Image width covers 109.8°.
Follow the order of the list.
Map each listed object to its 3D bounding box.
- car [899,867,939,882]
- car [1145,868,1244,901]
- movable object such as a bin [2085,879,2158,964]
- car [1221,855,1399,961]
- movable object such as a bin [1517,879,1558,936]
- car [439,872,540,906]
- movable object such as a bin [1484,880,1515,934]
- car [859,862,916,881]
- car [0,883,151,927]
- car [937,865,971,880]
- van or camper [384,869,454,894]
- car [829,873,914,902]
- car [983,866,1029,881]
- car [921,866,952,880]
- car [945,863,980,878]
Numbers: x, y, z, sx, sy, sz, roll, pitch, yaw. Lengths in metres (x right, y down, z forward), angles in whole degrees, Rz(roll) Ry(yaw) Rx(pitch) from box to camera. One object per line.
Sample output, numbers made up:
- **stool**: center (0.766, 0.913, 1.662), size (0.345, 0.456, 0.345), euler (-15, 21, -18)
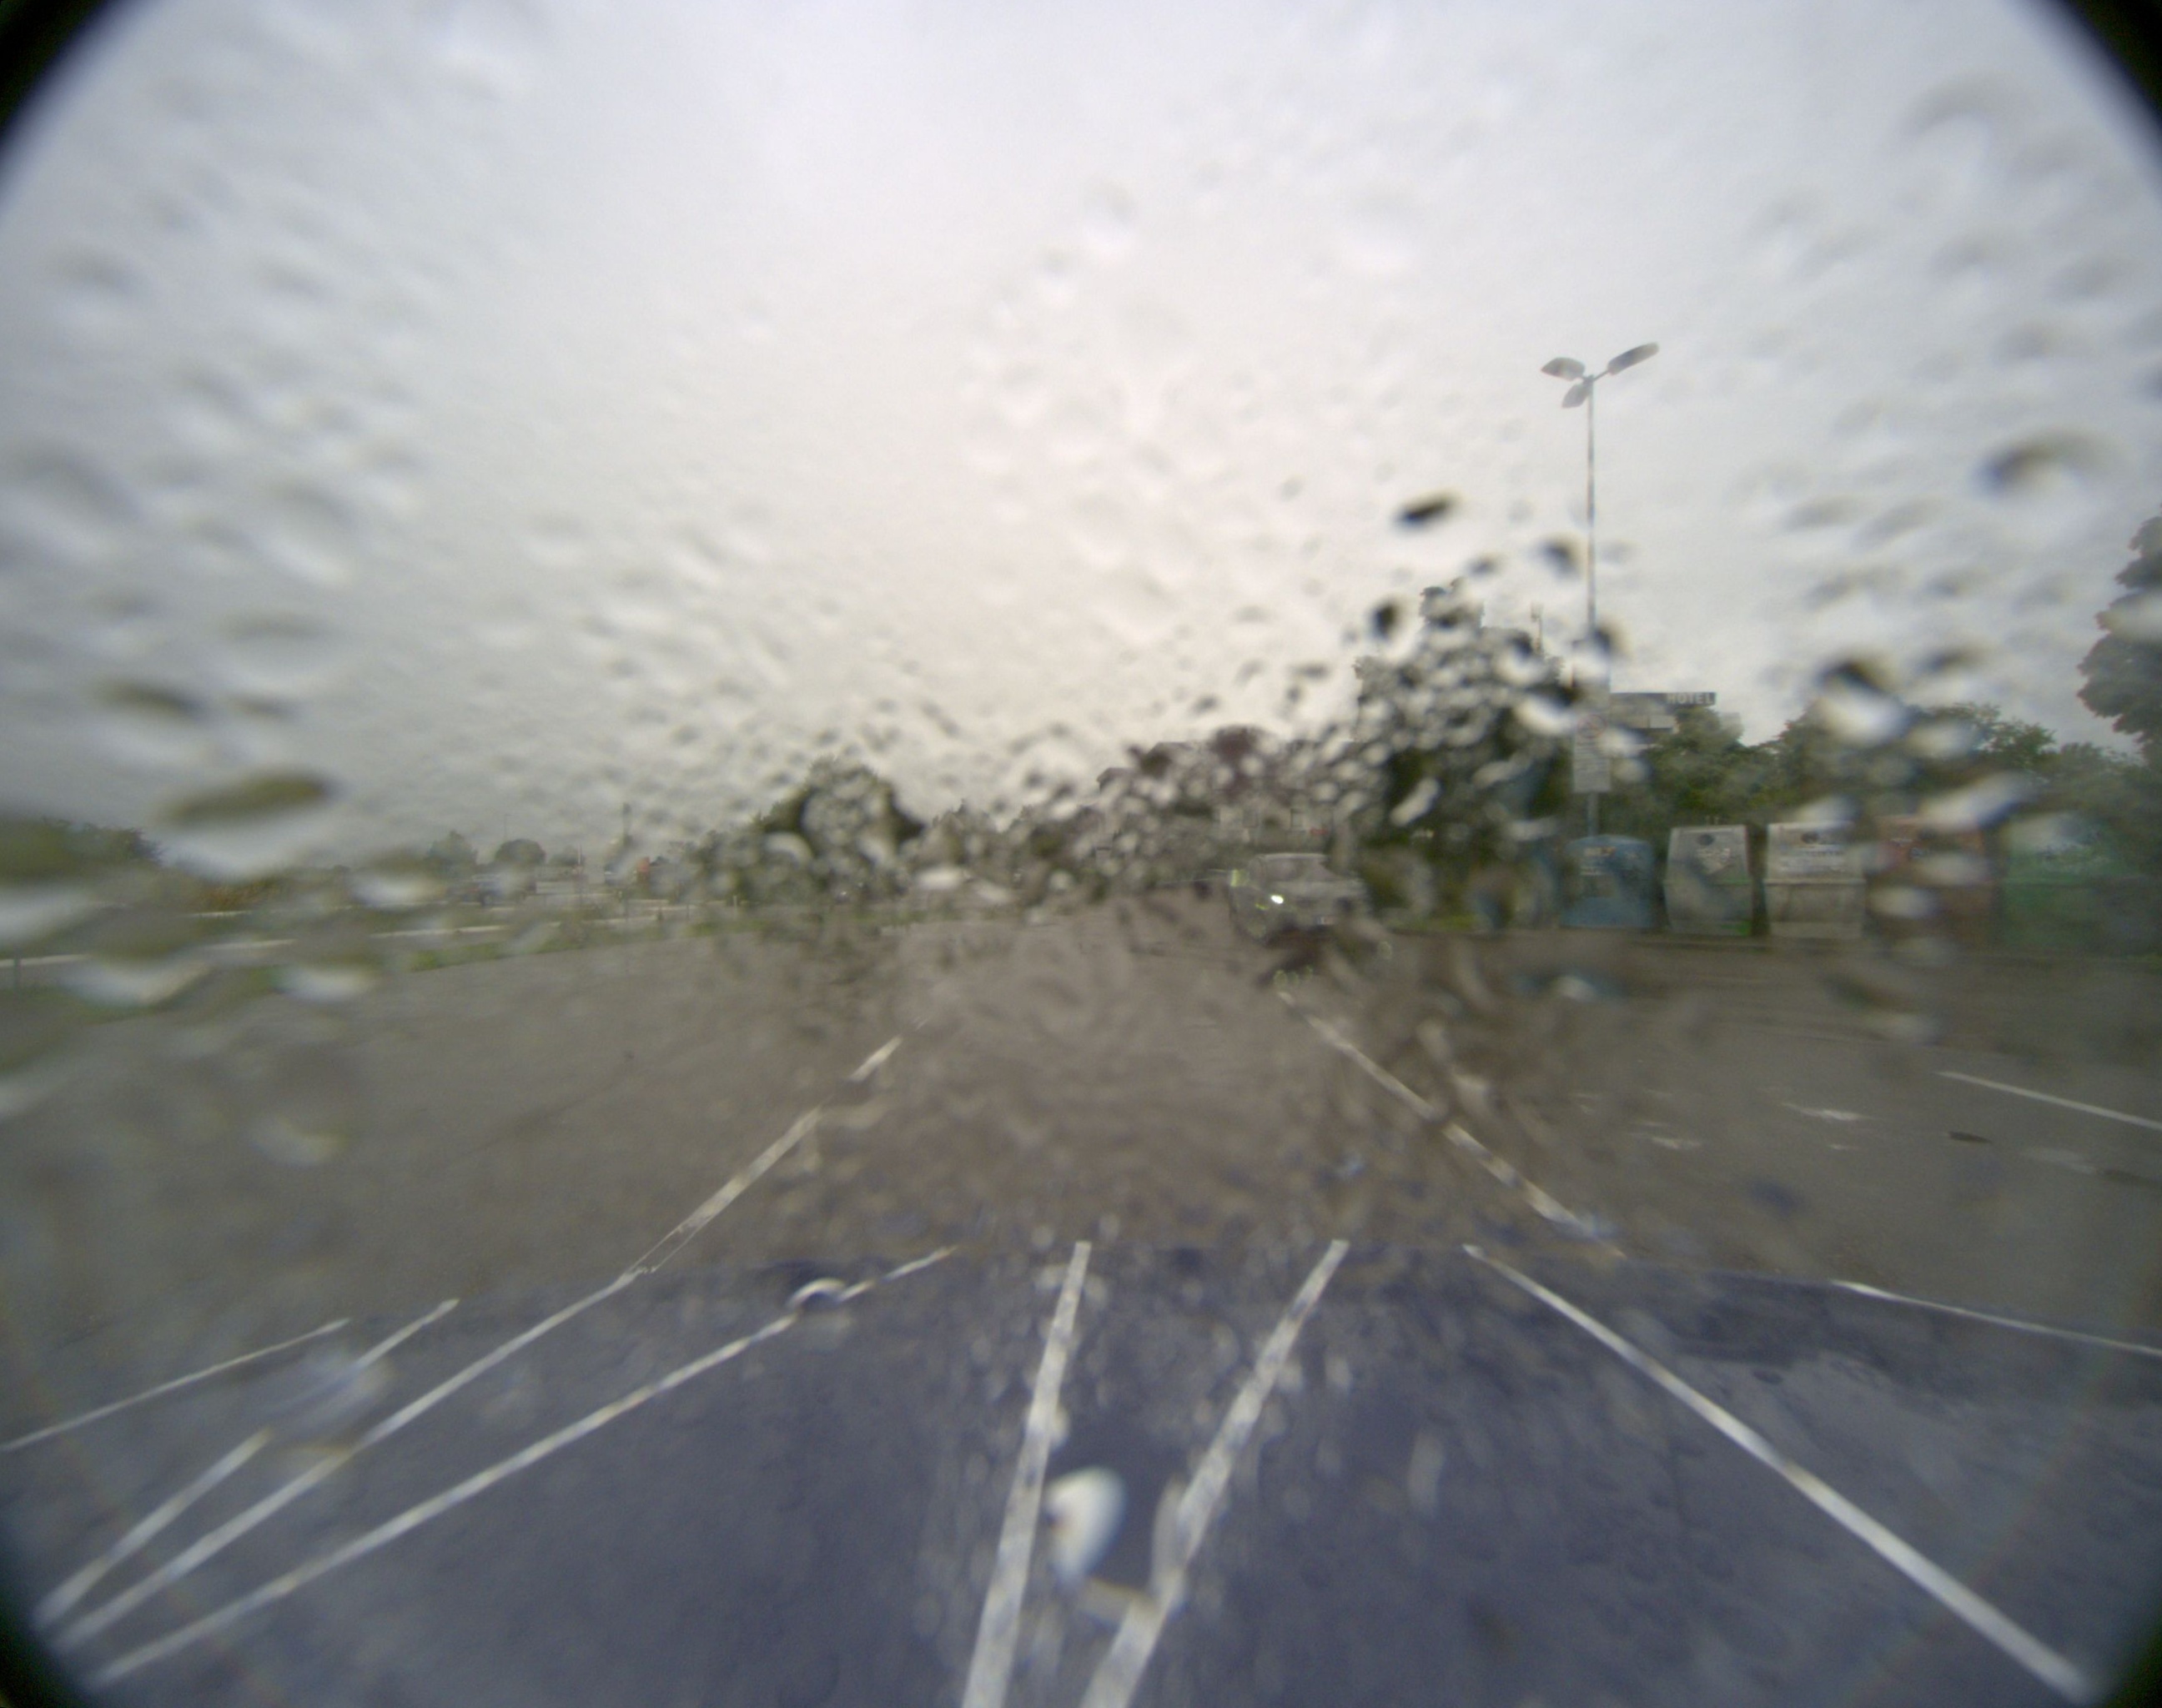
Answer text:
- **car**: center (-18.379, 2.360, 86.140), size (4.636, 1.541, 2.004), euler (-3, -1, 41)
- **car**: center (5.386, 1.432, 36.252), size (4.317, 1.440, 1.874), euler (-2, -1, 39)
- **movable object such as a bin**: center (11.690, 0.744, 8.550), size (0.510, 0.917, 0.437), euler (0, -1, -39)
- **car**: center (3.896, 0.842, 13.813), size (1.998, 1.565, 4.501), euler (-2, 0, 2)
- **movable object such as a bin**: center (7.936, 0.925, 13.210), size (0.405, 0.943, 0.450), euler (-2, 0, 1)
- **car**: center (-33.975, 1.965, 43.840), size (1.890, 1.674, 4.672), euler (1, 1, 6)
- **movable object such as a bin**: center (7.557, 0.948, 13.742), size (0.434, 0.943, 0.474), euler (-2, 0, 25)
- **car**: center (-19.958, 1.764, 78.502), size (5.374, 1.711, 2.000), euler (-2, -1, -2)
- **car**: center (-36.888, 1.790, 27.228), size (1.751, 1.317, 4.318), euler (1, 1, 32)
- **car**: center (-15.029, 2.207, 90.116), size (3.878, 1.560, 1.753), euler (-3, -1, 38)
- **van or camper**: center (-58.411, 2.407, 67.051), size (4.839, 2.001, 2.002), euler (1, 0, 10)
- **car**: center (-11.959, 1.906, 43.577), size (4.369, 1.416, 1.702), euler (-1, -1, -44)
- **car**: center (-7.278, 1.901, 74.316), size (4.358, 1.416, 1.850), euler (-1, -1, -3)
- **car**: center (-16.787, 2.197, 88.379), size (3.716, 1.540, 1.670), euler (-3, -1, 43)
- **car**: center (-14.377, 2.027, 92.261), size (3.989, 1.717, 1.994), euler (-3, -1, 37)
